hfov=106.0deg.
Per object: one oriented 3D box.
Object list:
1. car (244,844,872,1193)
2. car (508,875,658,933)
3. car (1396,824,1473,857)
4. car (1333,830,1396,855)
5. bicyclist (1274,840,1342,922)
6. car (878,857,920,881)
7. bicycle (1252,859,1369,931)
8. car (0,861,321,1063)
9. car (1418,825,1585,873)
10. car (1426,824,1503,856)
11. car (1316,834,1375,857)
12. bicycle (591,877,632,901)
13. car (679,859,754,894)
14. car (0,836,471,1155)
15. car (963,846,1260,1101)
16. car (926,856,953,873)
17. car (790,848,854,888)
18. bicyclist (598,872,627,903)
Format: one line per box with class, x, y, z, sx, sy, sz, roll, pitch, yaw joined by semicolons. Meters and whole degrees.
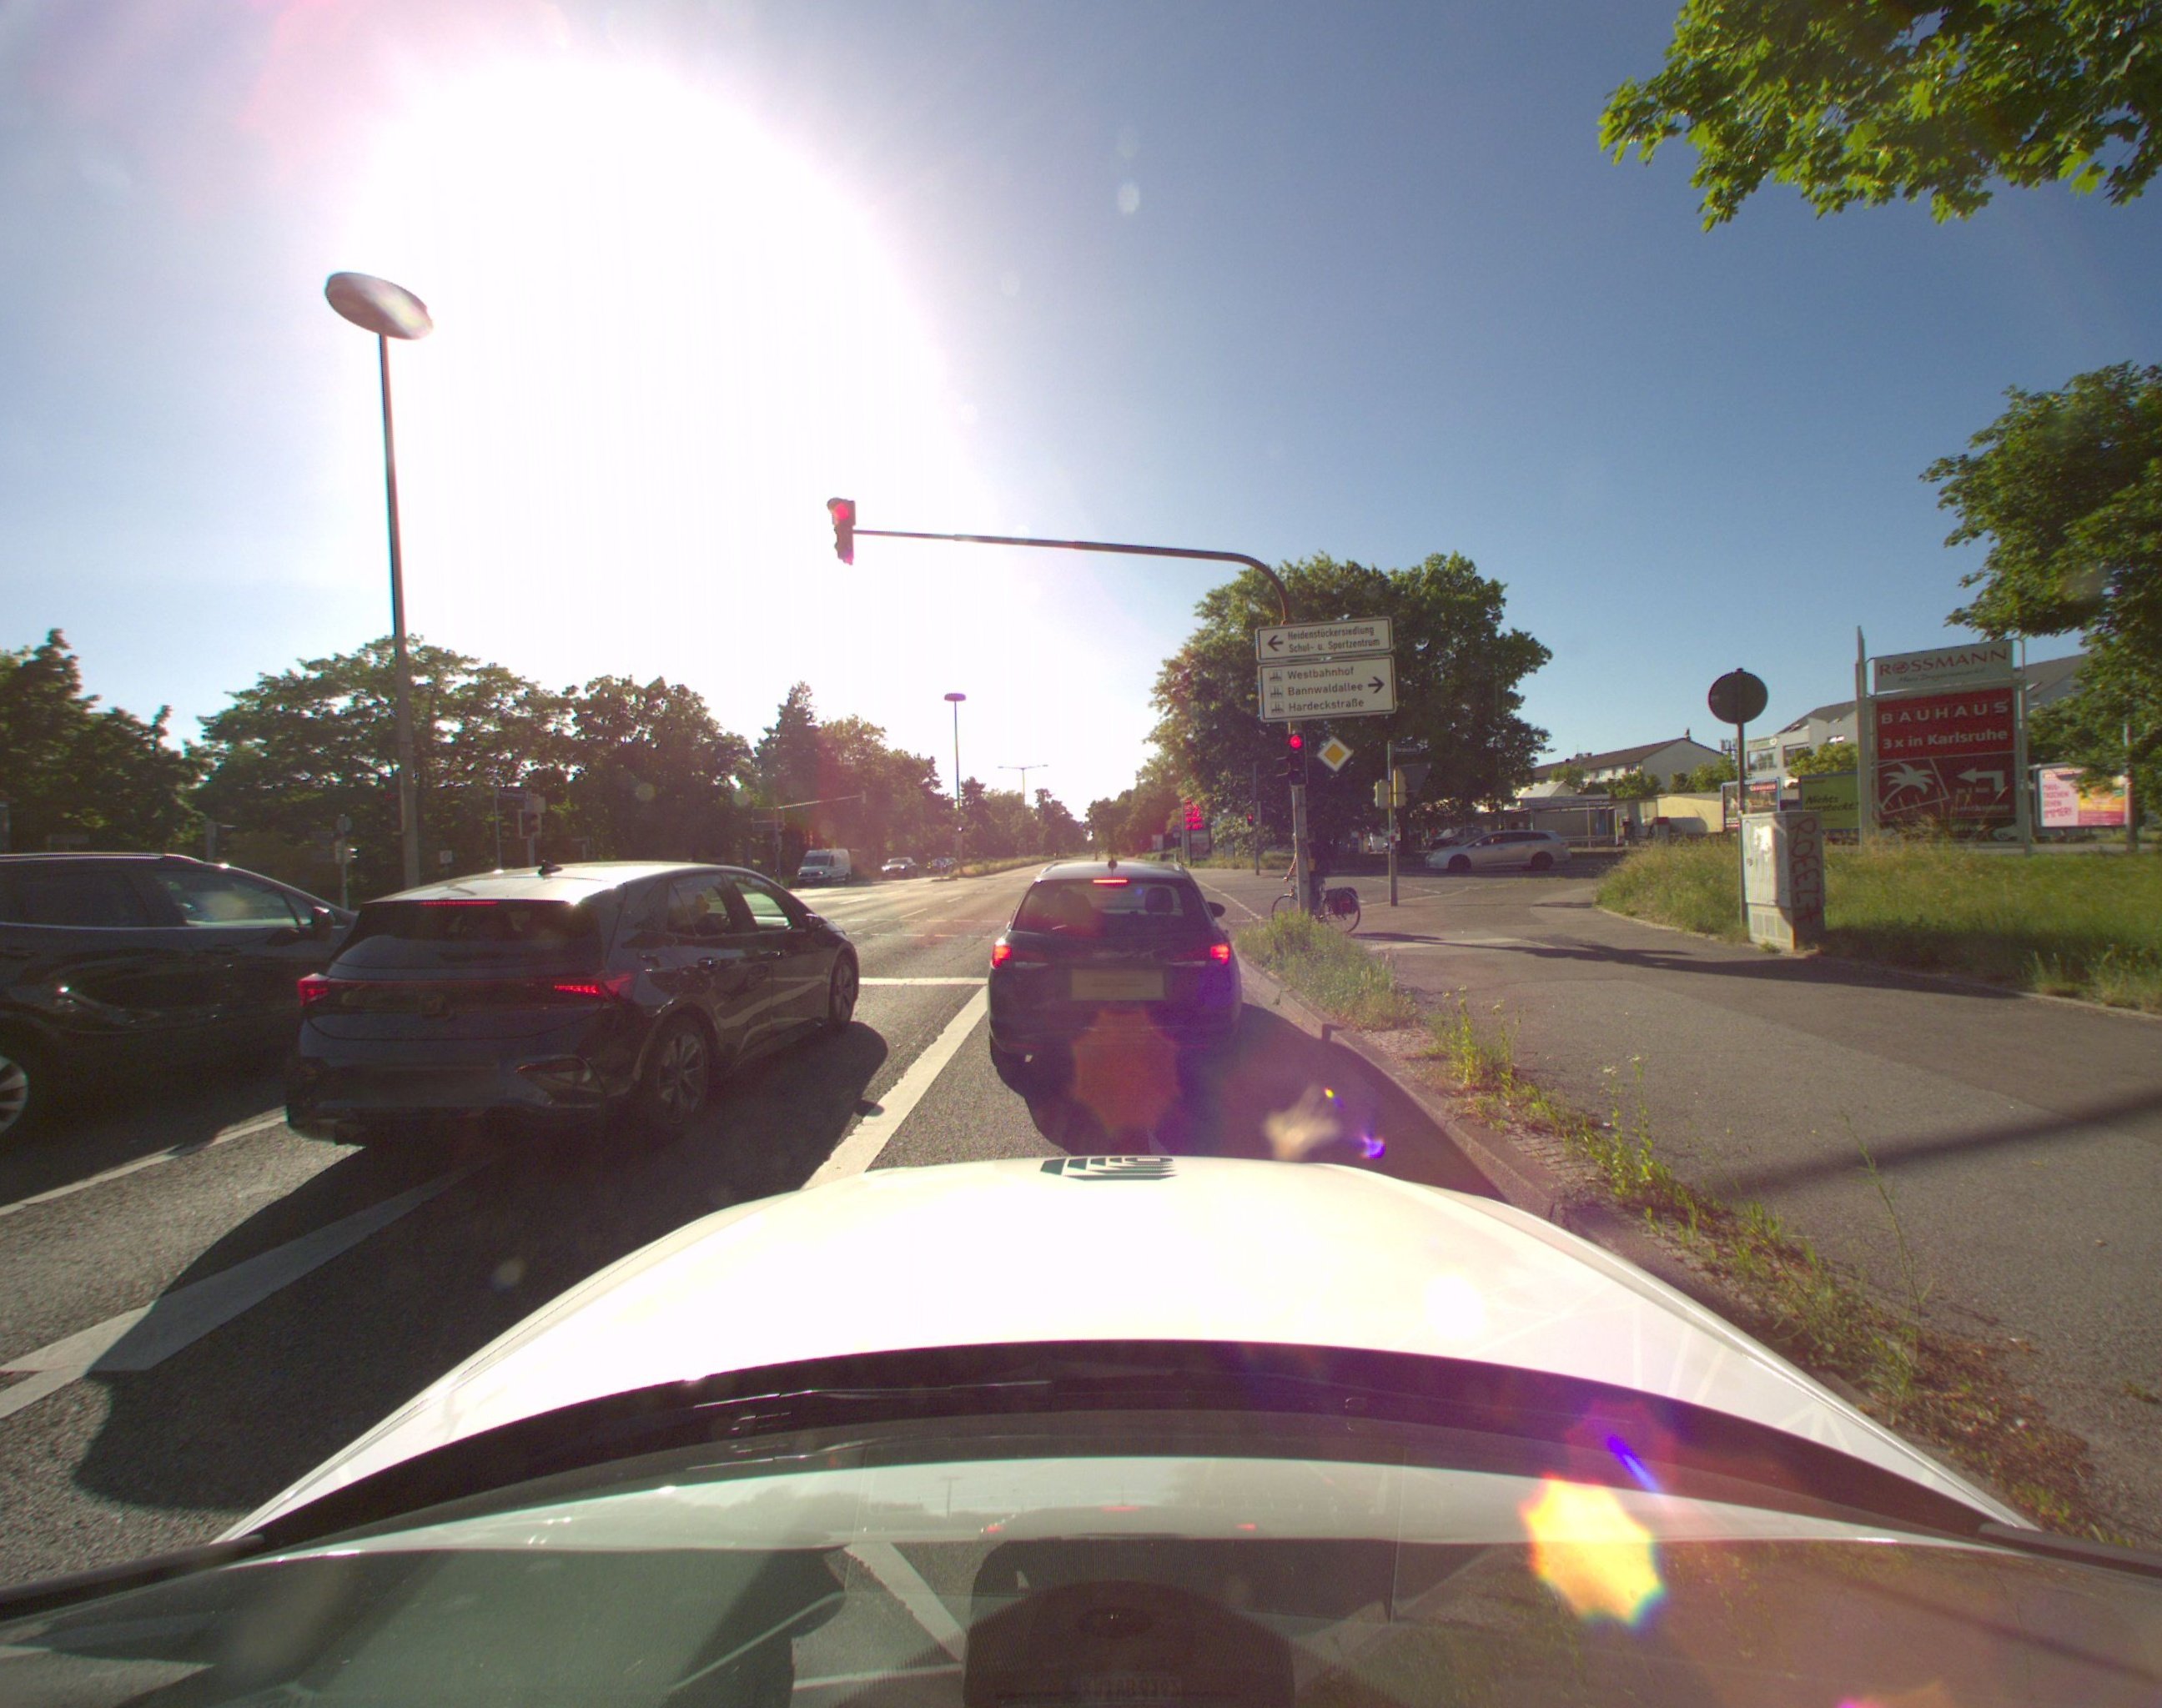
car;-2.960;0.772;5.859;1.678;1.580;4.208;-1;0;2
car;-15.347;1.471;25.450;1.680;1.433;4.617;-3;0;2
car;21.435;-0.825;49.391;4.003;1.750;1.985;-3;0;-22
car;19.664;-0.822;56.435;3.903;1.517;1.733;-3;0;-21
bicyclist;3.719;0.446;13.378;0.541;1.277;0.819;-3;-2;-42
car;-13.887;1.111;62.364;1.986;1.601;4.617;-3;0;2
bicycle;3.732;0.687;13.375;0.541;1.097;1.755;-3;-2;-42
car;-10.223;0.986;7.925;1.824;1.702;3.999;-3;0;0
car;14.964;-0.166;29.296;4.969;1.486;2.007;-2;0;13
car;22.379;-0.813;47.528;4.002;1.680;1.733;-3;0;-21
car;19.330;-0.615;59.528;3.903;1.517;1.733;-3;0;-21
bicycle;-26.264;1.946;45.635;0.874;1.212;2.533;-3;0;-3
car;-17.879;1.071;40.144;1.680;1.509;4.005;-3;0;2
car;-6.620;0.787;5.522;1.798;1.689;4.002;-3;0;2
car;0.249;0.725;6.968;1.750;1.495;4.208;-1;0;2
car;-13.597;1.009;78.489;1.769;1.463;4.166;-3;0;2
car;-17.355;0.874;54.955;2.092;2.492;6.006;-3;0;2
bicyclist;-26.209;1.839;45.563;0.874;1.648;1.198;-3;0;-4
